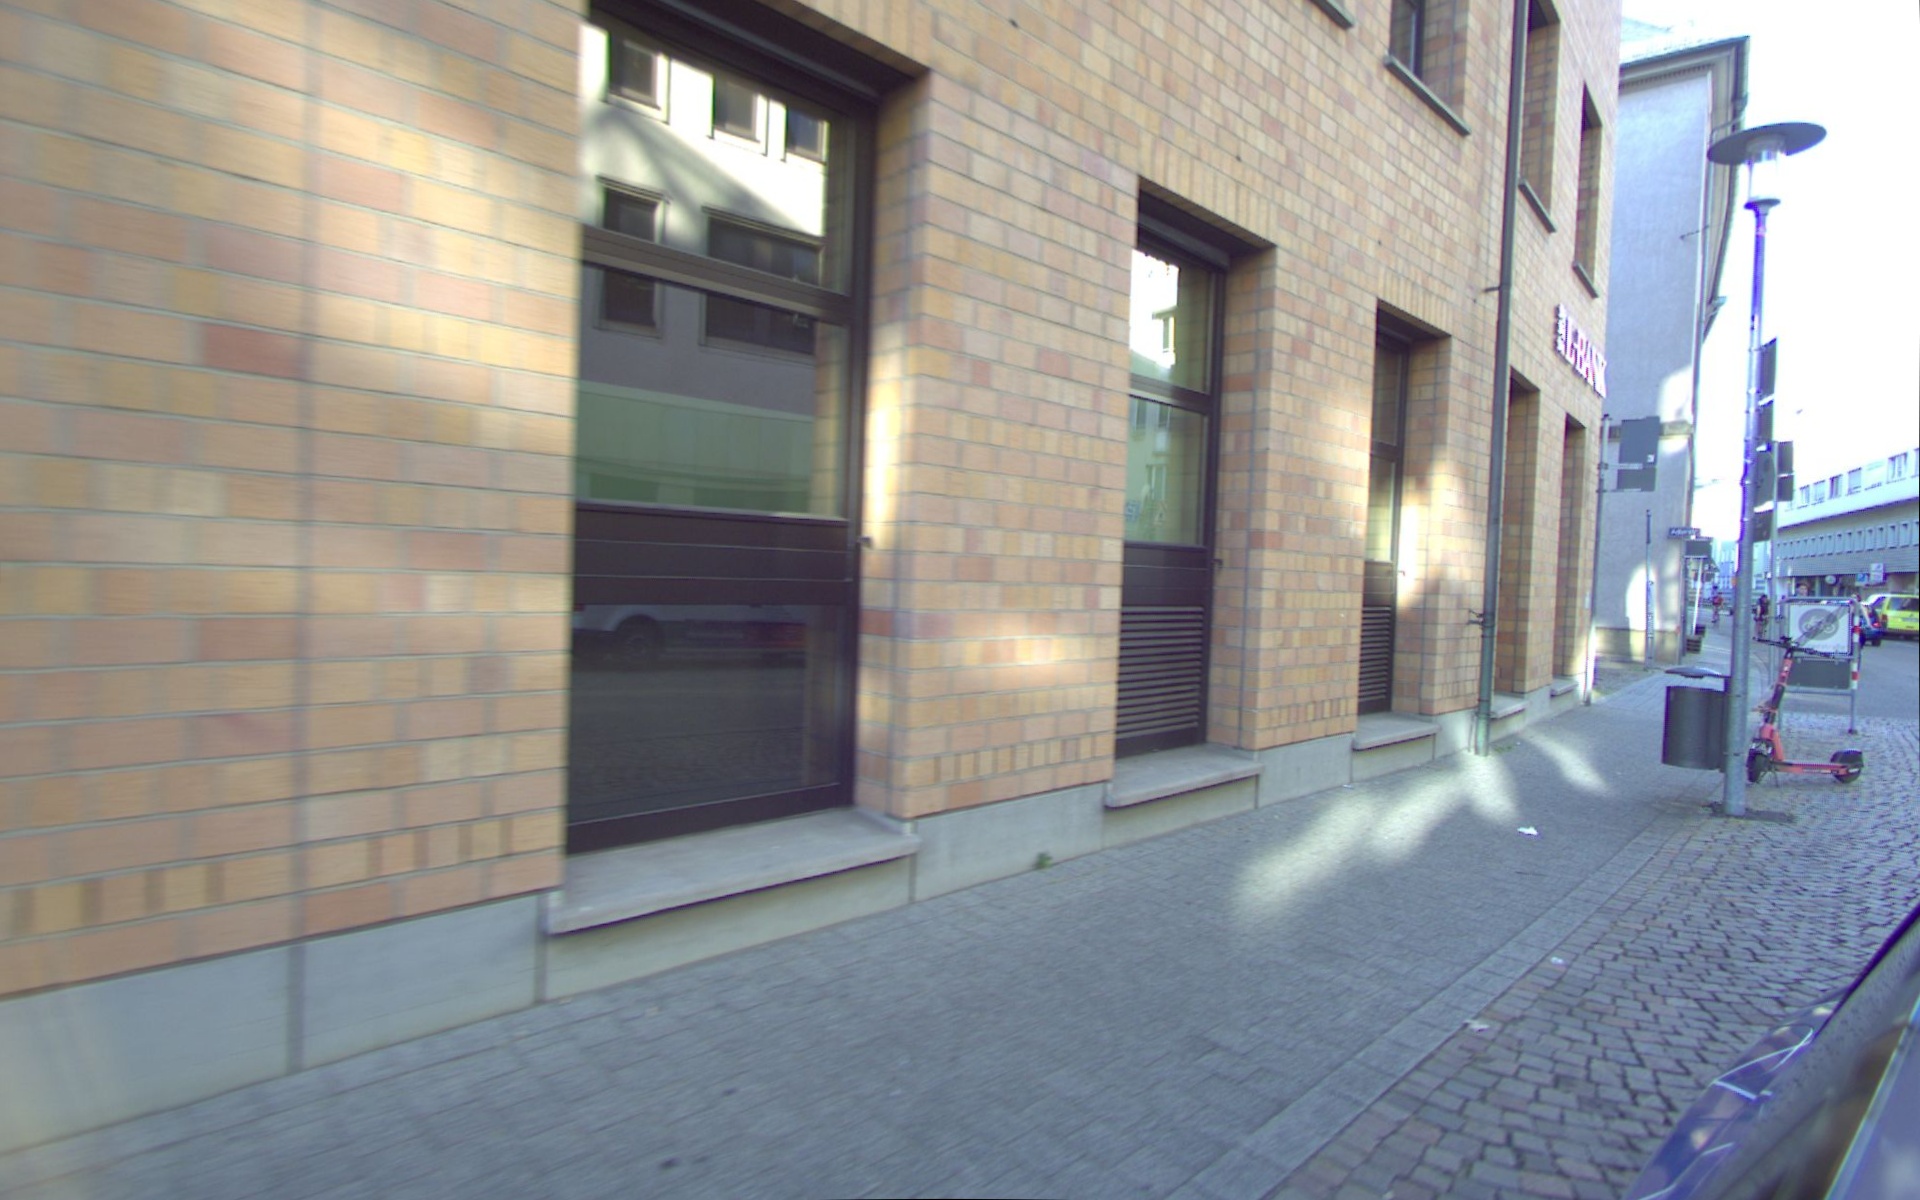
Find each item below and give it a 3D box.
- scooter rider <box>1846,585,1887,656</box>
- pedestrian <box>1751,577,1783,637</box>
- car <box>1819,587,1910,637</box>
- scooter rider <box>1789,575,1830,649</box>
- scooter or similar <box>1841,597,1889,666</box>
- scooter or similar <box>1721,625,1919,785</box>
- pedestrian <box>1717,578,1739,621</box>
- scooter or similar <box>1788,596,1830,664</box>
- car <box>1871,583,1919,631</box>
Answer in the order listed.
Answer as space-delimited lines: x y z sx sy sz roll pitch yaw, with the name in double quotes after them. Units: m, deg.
19.908 0.436 22.238 0.588 1.527 0.592 1 1 36 "scooter rider"
27.867 0.226 34.947 0.711 2.038 0.690 3 2 35 "pedestrian"
32.454 0.430 36.419 1.845 1.613 3.759 4 1 34 "car"
18.729 0.252 22.321 0.644 1.613 0.592 1 1 36 "scooter rider"
19.778 0.656 22.136 0.547 1.413 1.536 3 2 35 "scooter or similar"
7.257 0.865 8.474 1.390 1.251 0.539 2 0 -6 "scooter or similar"
36.997 -0.045 48.768 0.711 2.038 0.690 3 2 35 "pedestrian"
18.820 0.644 22.460 0.521 1.413 1.536 3 2 35 "scooter or similar"
40.066 0.269 42.590 1.875 1.897 3.955 1 2 32 "car"
